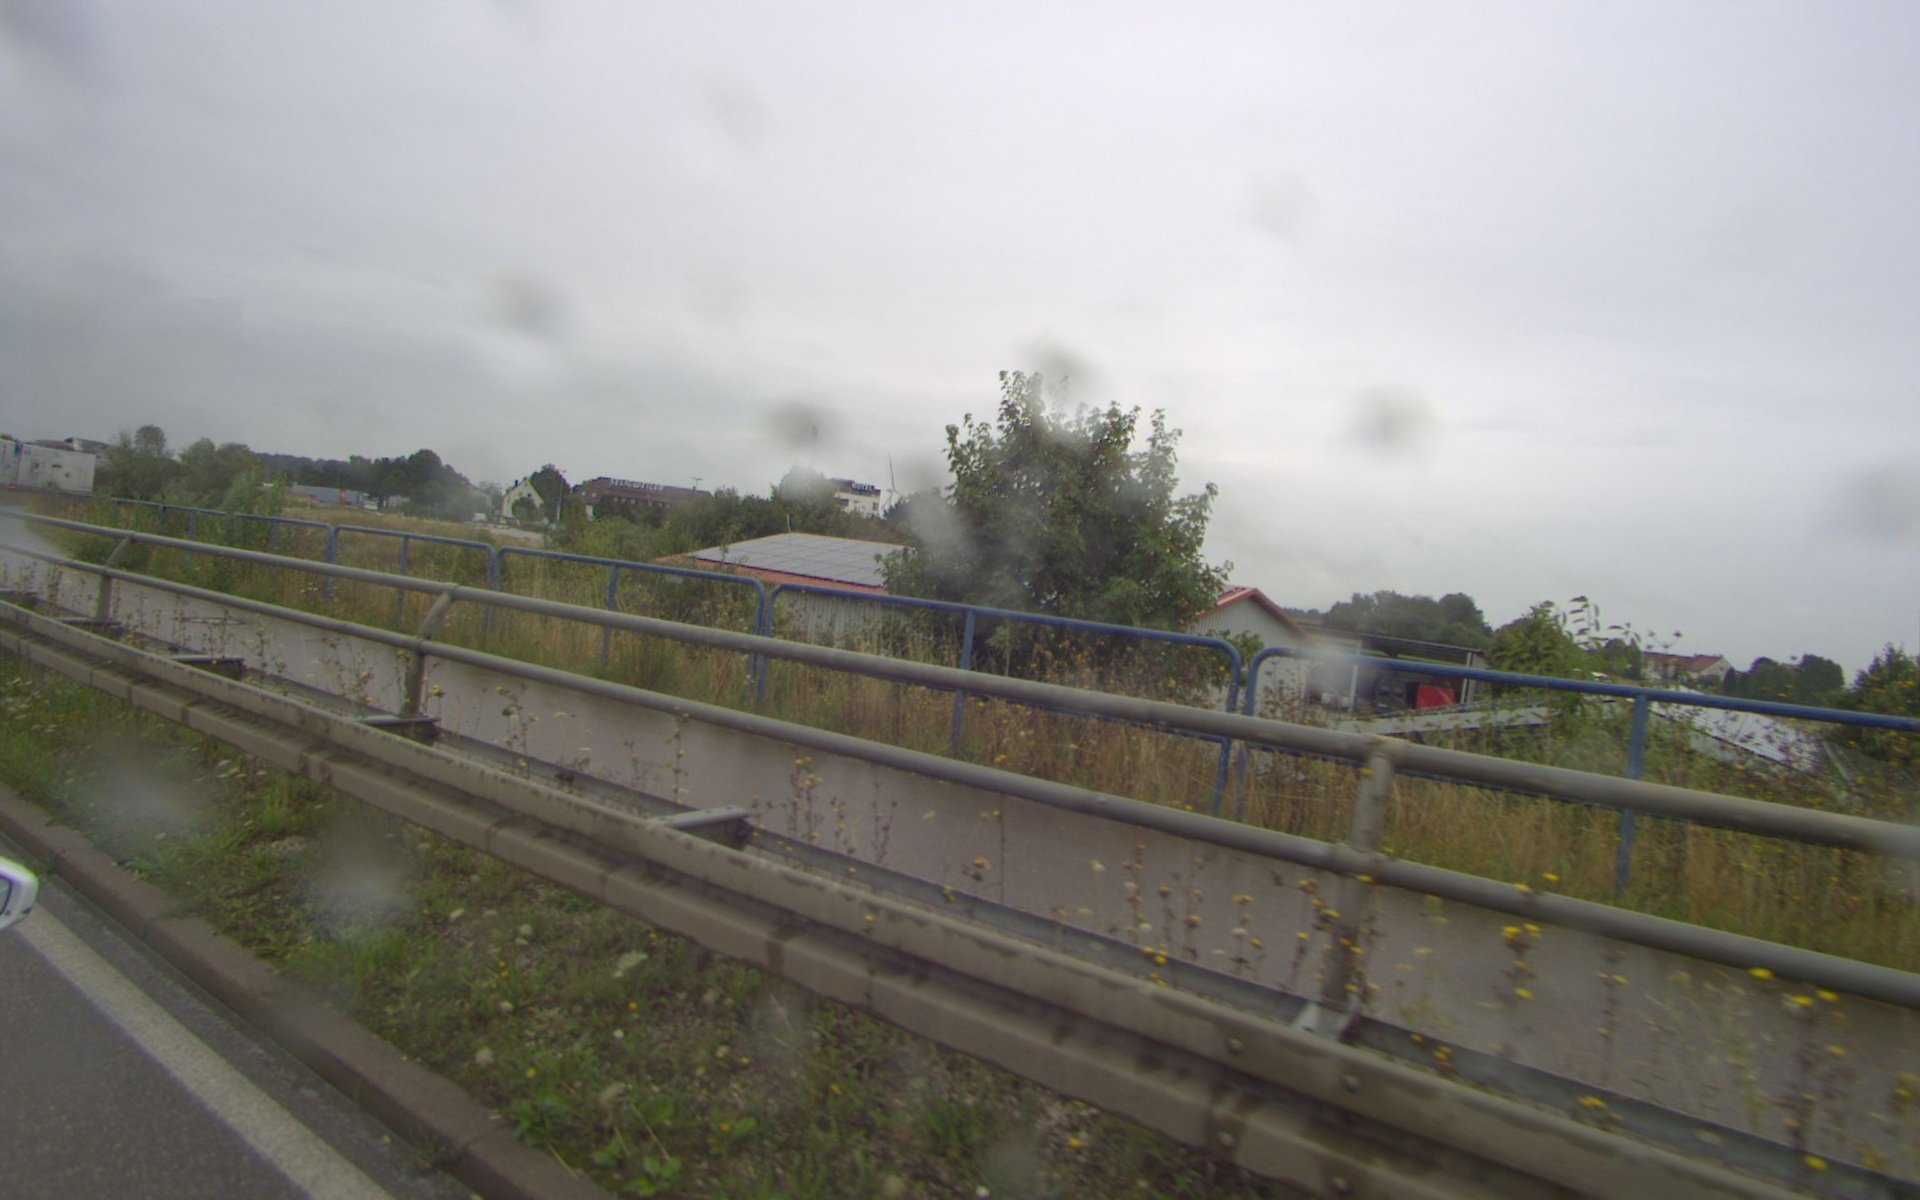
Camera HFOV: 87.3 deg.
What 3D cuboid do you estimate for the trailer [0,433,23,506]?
[{"bbox_3d":[-55.644,-7.603,56.154,3.182,3.968,8.660,8,-1,-34],"label":"trailer"}]

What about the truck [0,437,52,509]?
[{"bbox_3d":[-60.415,-8.086,63.383,3.182,3.968,8.660,8,-1,-34],"label":"truck"}]
